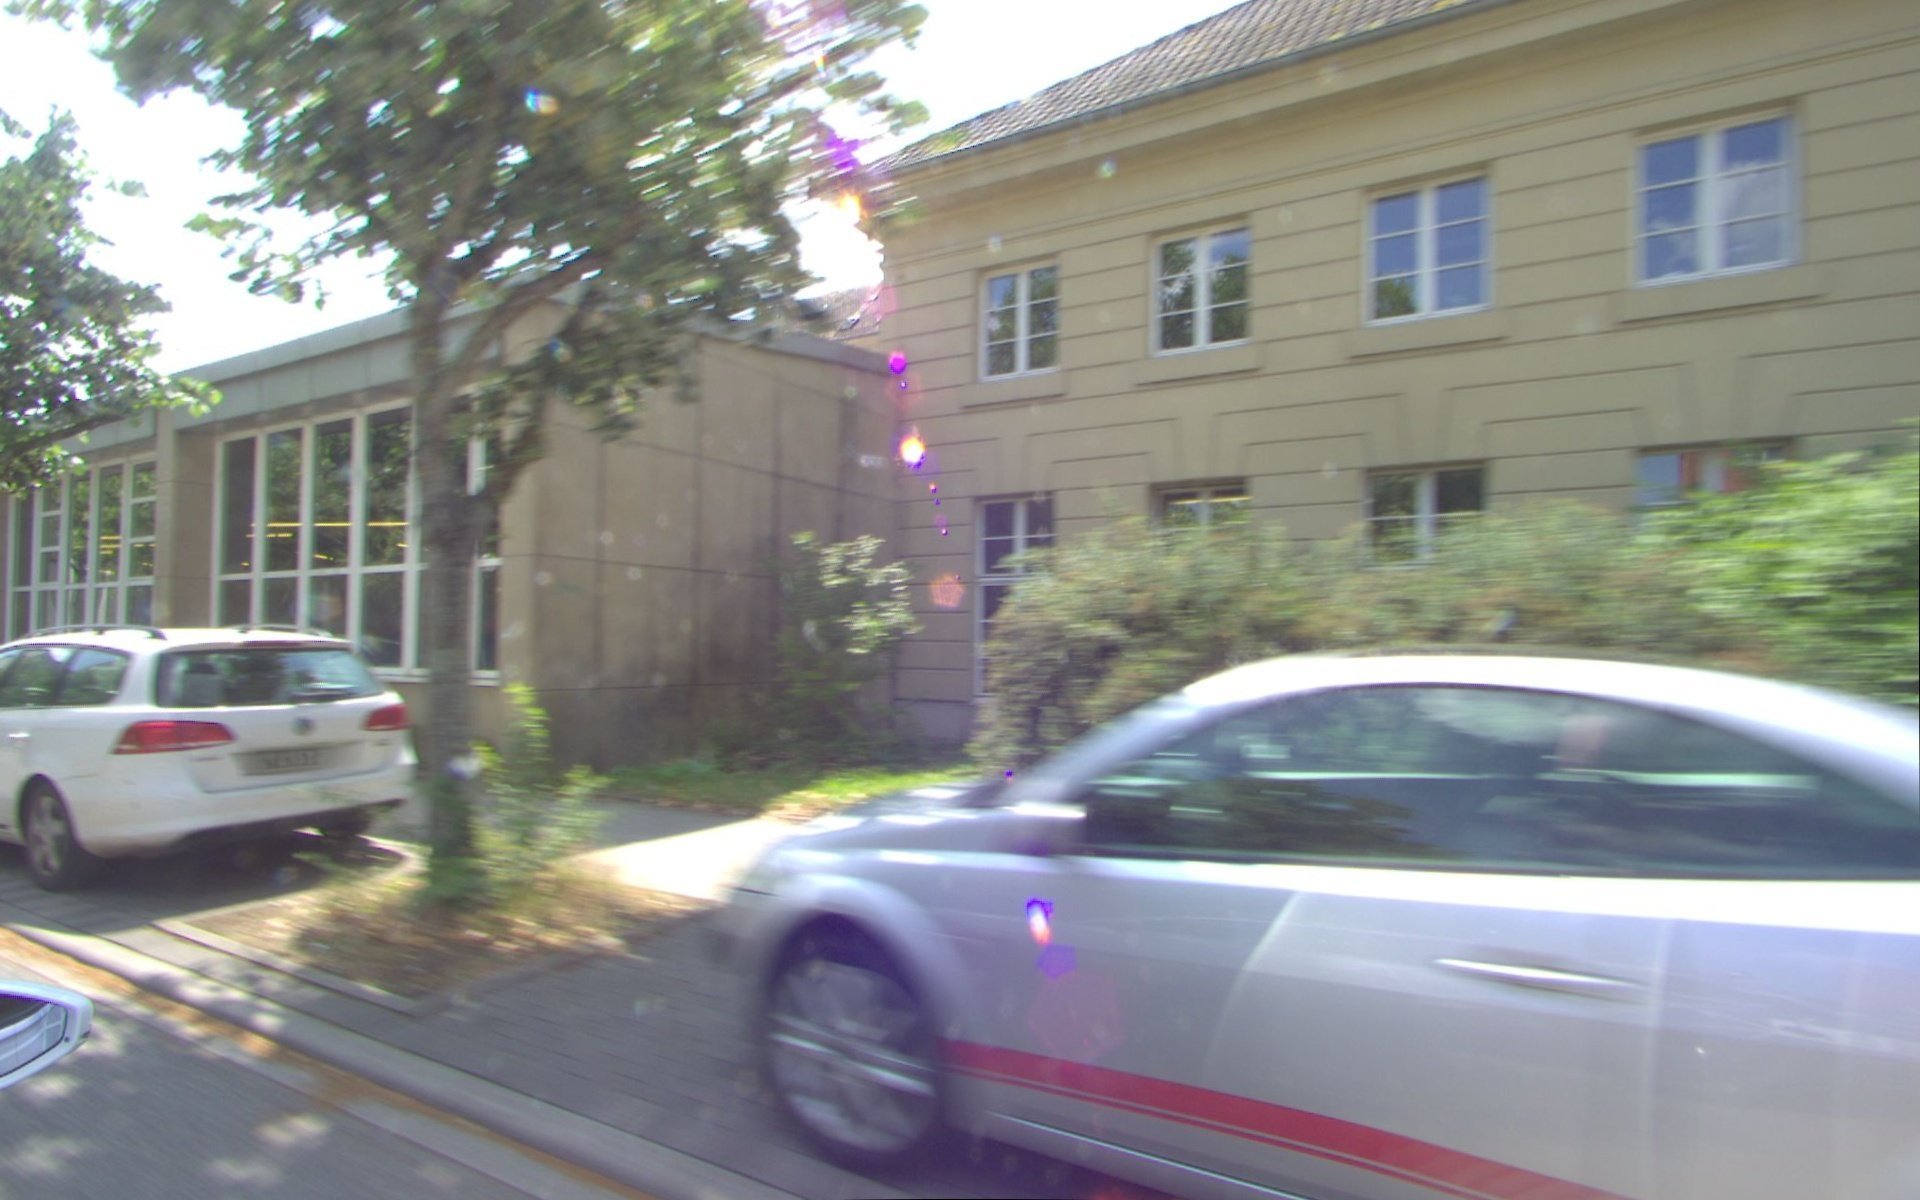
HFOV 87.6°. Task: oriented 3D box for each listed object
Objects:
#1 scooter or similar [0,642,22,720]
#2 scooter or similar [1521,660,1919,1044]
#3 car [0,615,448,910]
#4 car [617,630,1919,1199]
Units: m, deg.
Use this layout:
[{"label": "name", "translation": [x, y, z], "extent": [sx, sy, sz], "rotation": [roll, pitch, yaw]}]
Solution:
[{"label": "scooter or similar", "translation": [-15.786, 1.299, 16.266], "extent": [1.471, 1.233, 0.415], "rotation": [-1, -1, 31]}, {"label": "scooter or similar", "translation": [3.133, 0.927, 4.195], "extent": [0.587, 1.283, 1.262], "rotation": [2, -1, -22]}, {"label": "car", "translation": [-5.789, 0.876, 6.956], "extent": [4.601, 1.486, 1.724], "rotation": [-1, -2, 30]}, {"label": "car", "translation": [1.095, 0.821, 2.699], "extent": [3.929, 1.408, 1.645], "rotation": [0, -1, 30]}]
